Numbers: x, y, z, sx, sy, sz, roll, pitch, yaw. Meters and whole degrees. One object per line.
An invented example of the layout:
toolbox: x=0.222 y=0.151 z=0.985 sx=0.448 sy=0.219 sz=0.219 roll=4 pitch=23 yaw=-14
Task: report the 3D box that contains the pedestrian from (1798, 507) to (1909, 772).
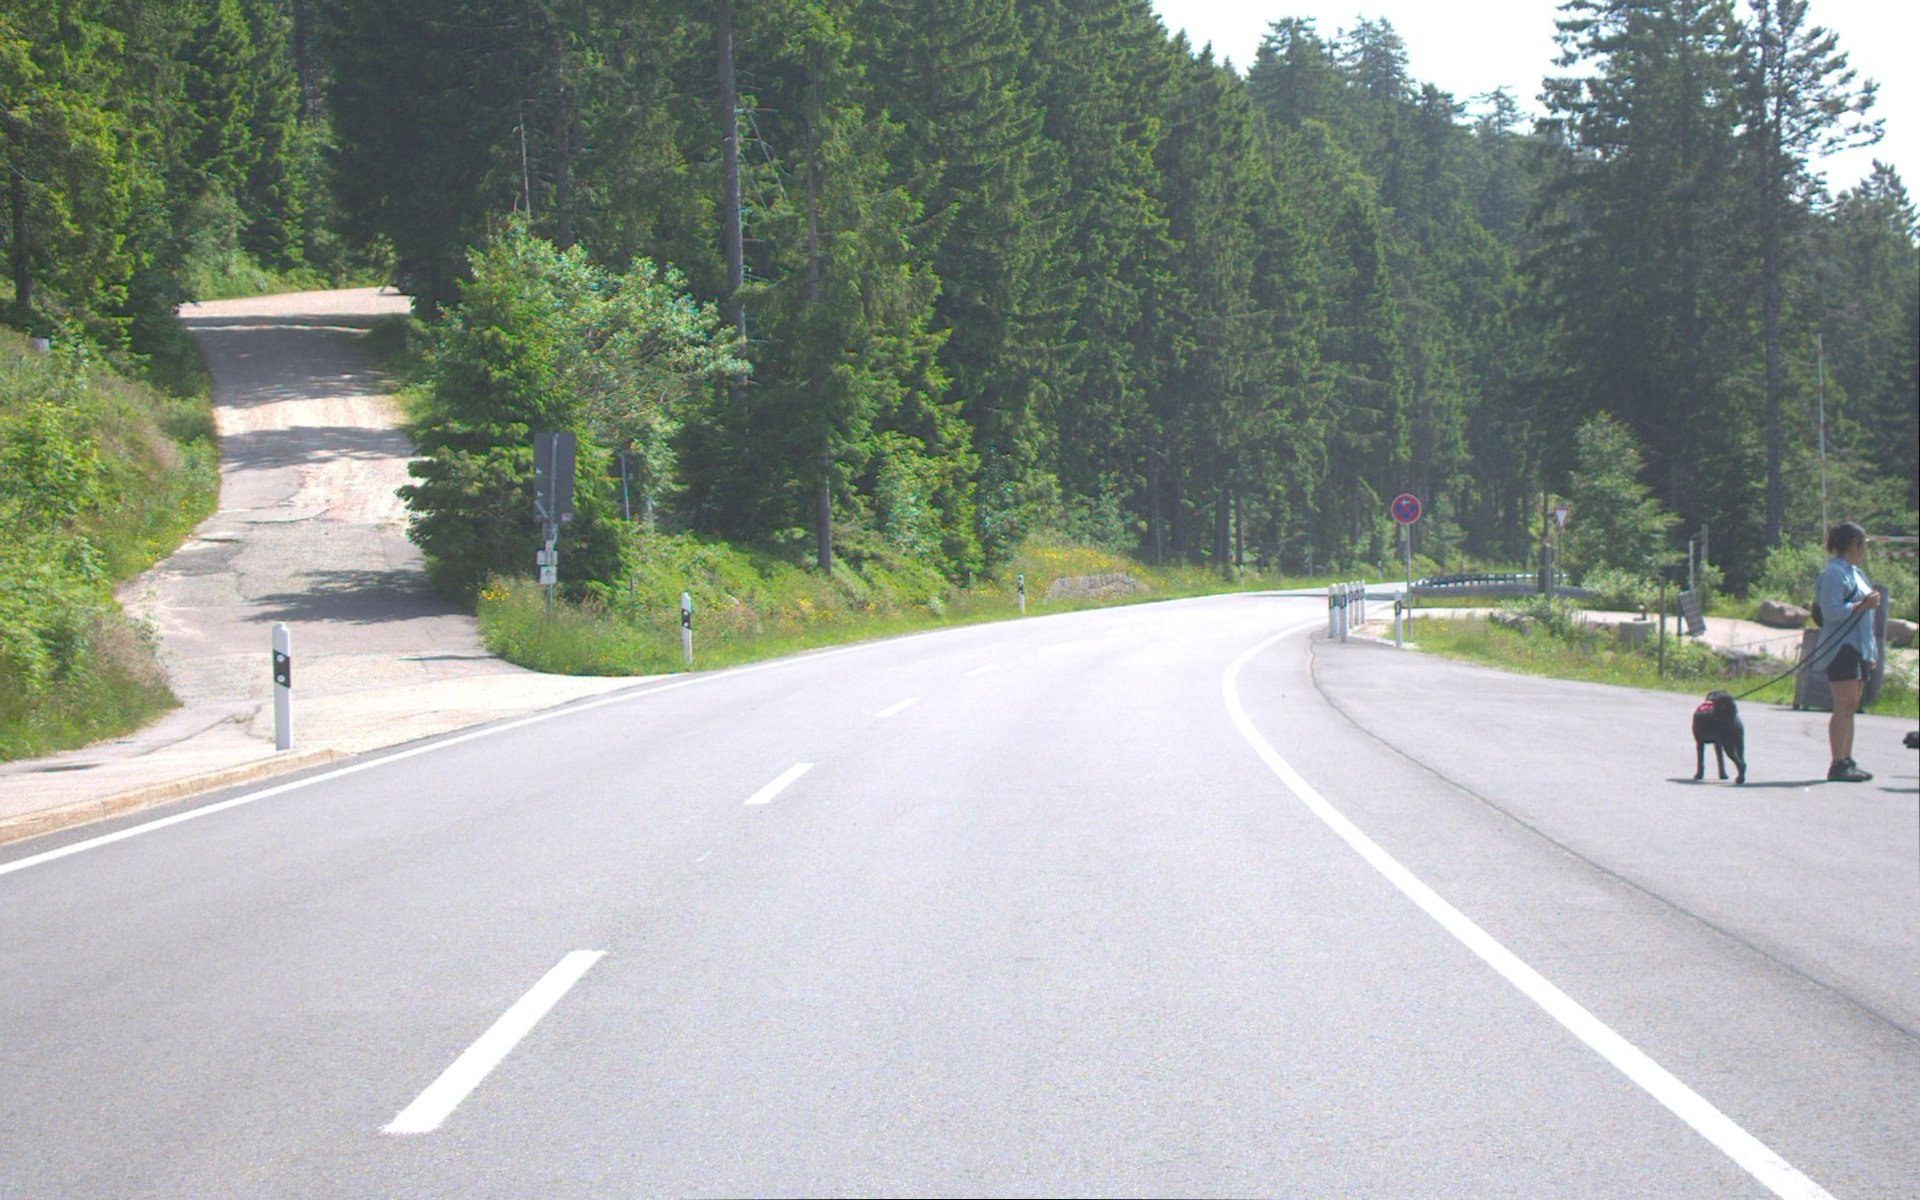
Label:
pedestrian: x=6.071 y=0.258 z=23.384 sx=0.617 sy=1.769 sz=0.724 roll=0 pitch=1 yaw=6
